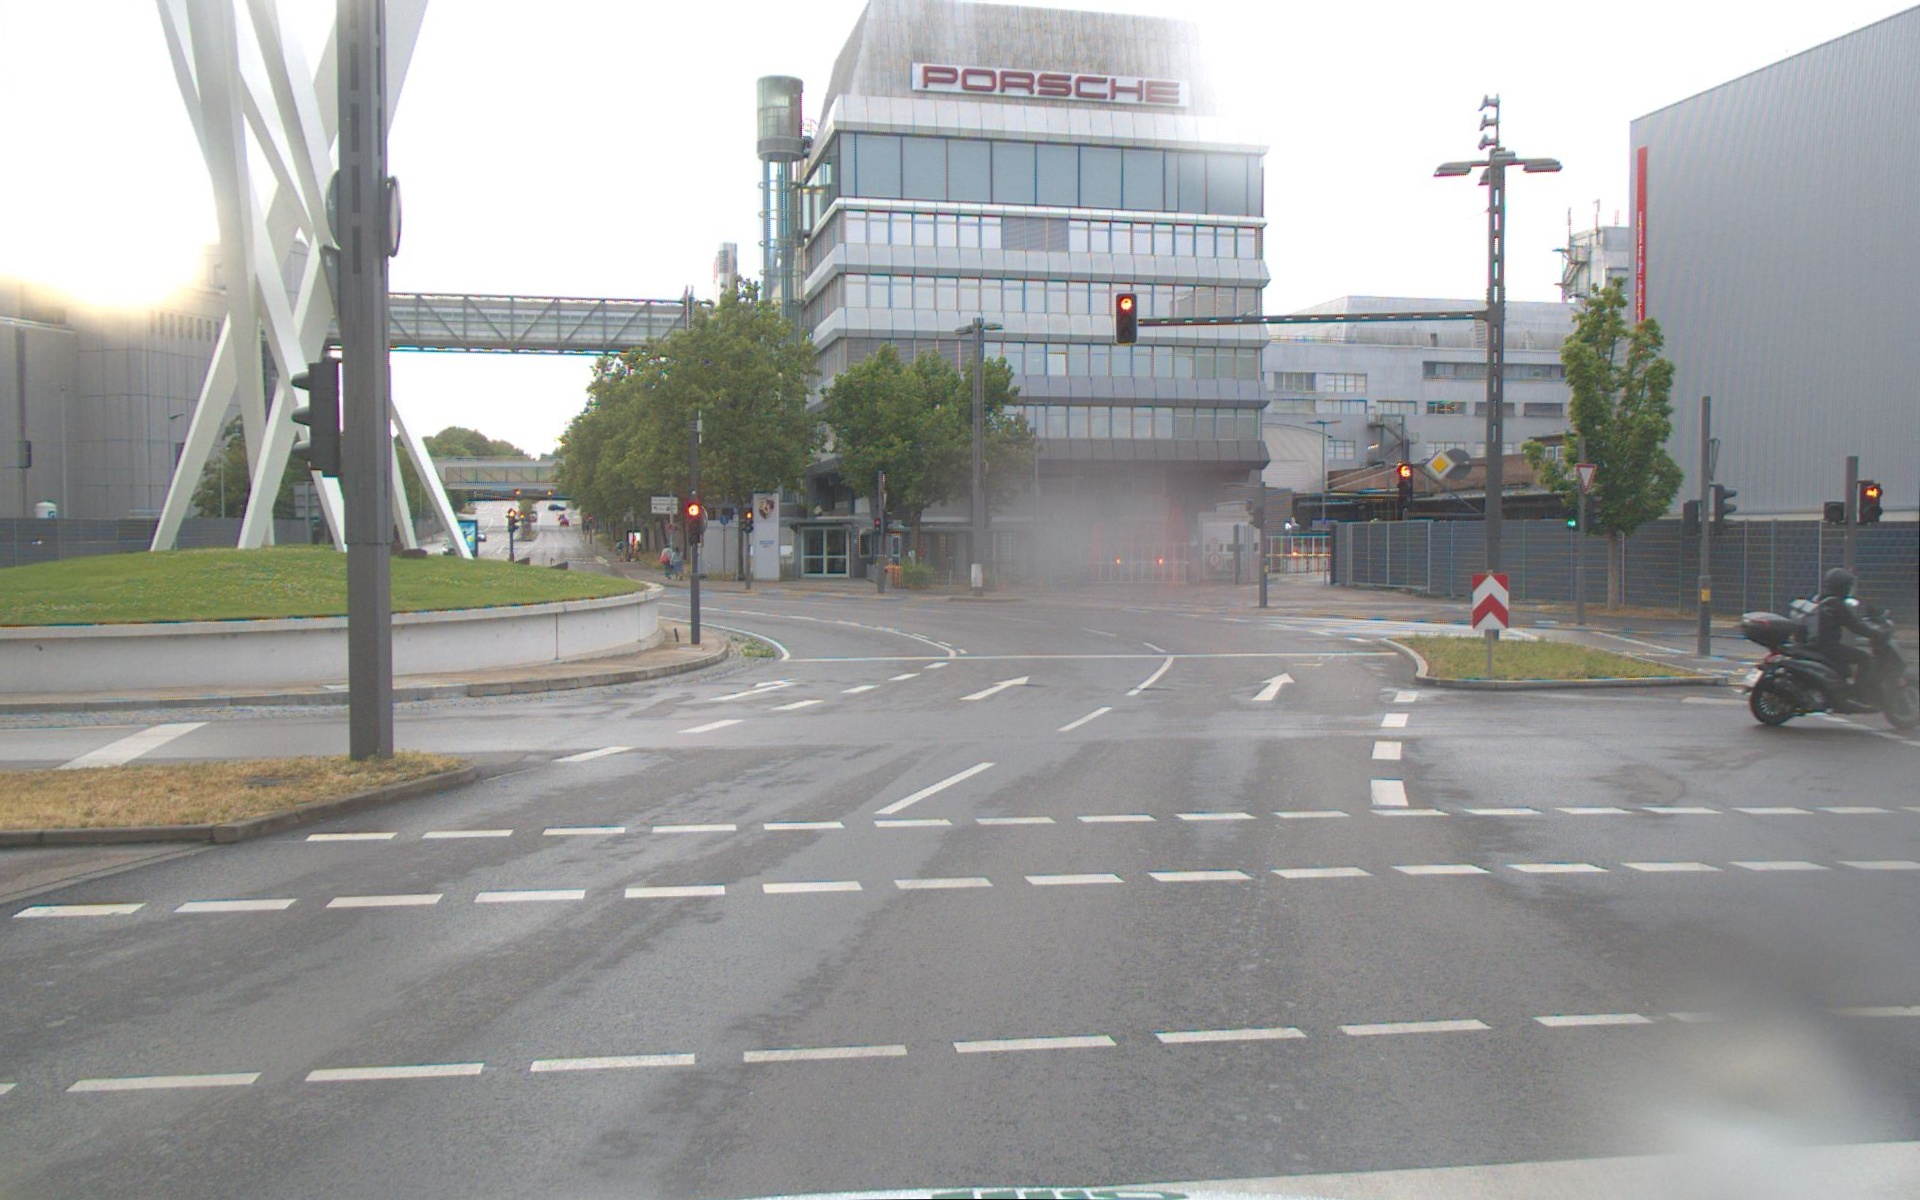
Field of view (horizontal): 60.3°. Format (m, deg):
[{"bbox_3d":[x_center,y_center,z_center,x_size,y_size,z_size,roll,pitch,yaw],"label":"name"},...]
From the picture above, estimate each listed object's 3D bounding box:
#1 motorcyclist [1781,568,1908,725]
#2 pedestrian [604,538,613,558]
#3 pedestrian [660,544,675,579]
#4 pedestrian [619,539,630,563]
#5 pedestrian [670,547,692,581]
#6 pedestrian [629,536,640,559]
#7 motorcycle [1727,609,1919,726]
[{"bbox_3d":[9.539,0.481,17.853,1.012,1.651,0.670,0,1,-6],"label":"motorcyclist"},{"bbox_3d":[-35.136,-5.207,165.468,0.749,2.049,0.693,0,1,3],"label":"pedestrian"},{"bbox_3d":[-13.716,-1.798,77.548,0.696,1.619,0.839,-1,2,-10],"label":"pedestrian"},{"bbox_3d":[-25.020,-3.658,123.343,0.699,1.770,0.757,1,-1,-14],"label":"pedestrian"},{"bbox_3d":[-12.859,-1.647,76.324,0.820,1.547,0.835,-1,2,-24],"label":"pedestrian"},{"bbox_3d":[-25.564,-4.107,129.900,0.744,1.770,0.712,1,-1,-10],"label":"pedestrian"},{"bbox_3d":[9.487,0.718,17.885,2.214,1.213,0.450,0,1,-4],"label":"motorcycle"}]
